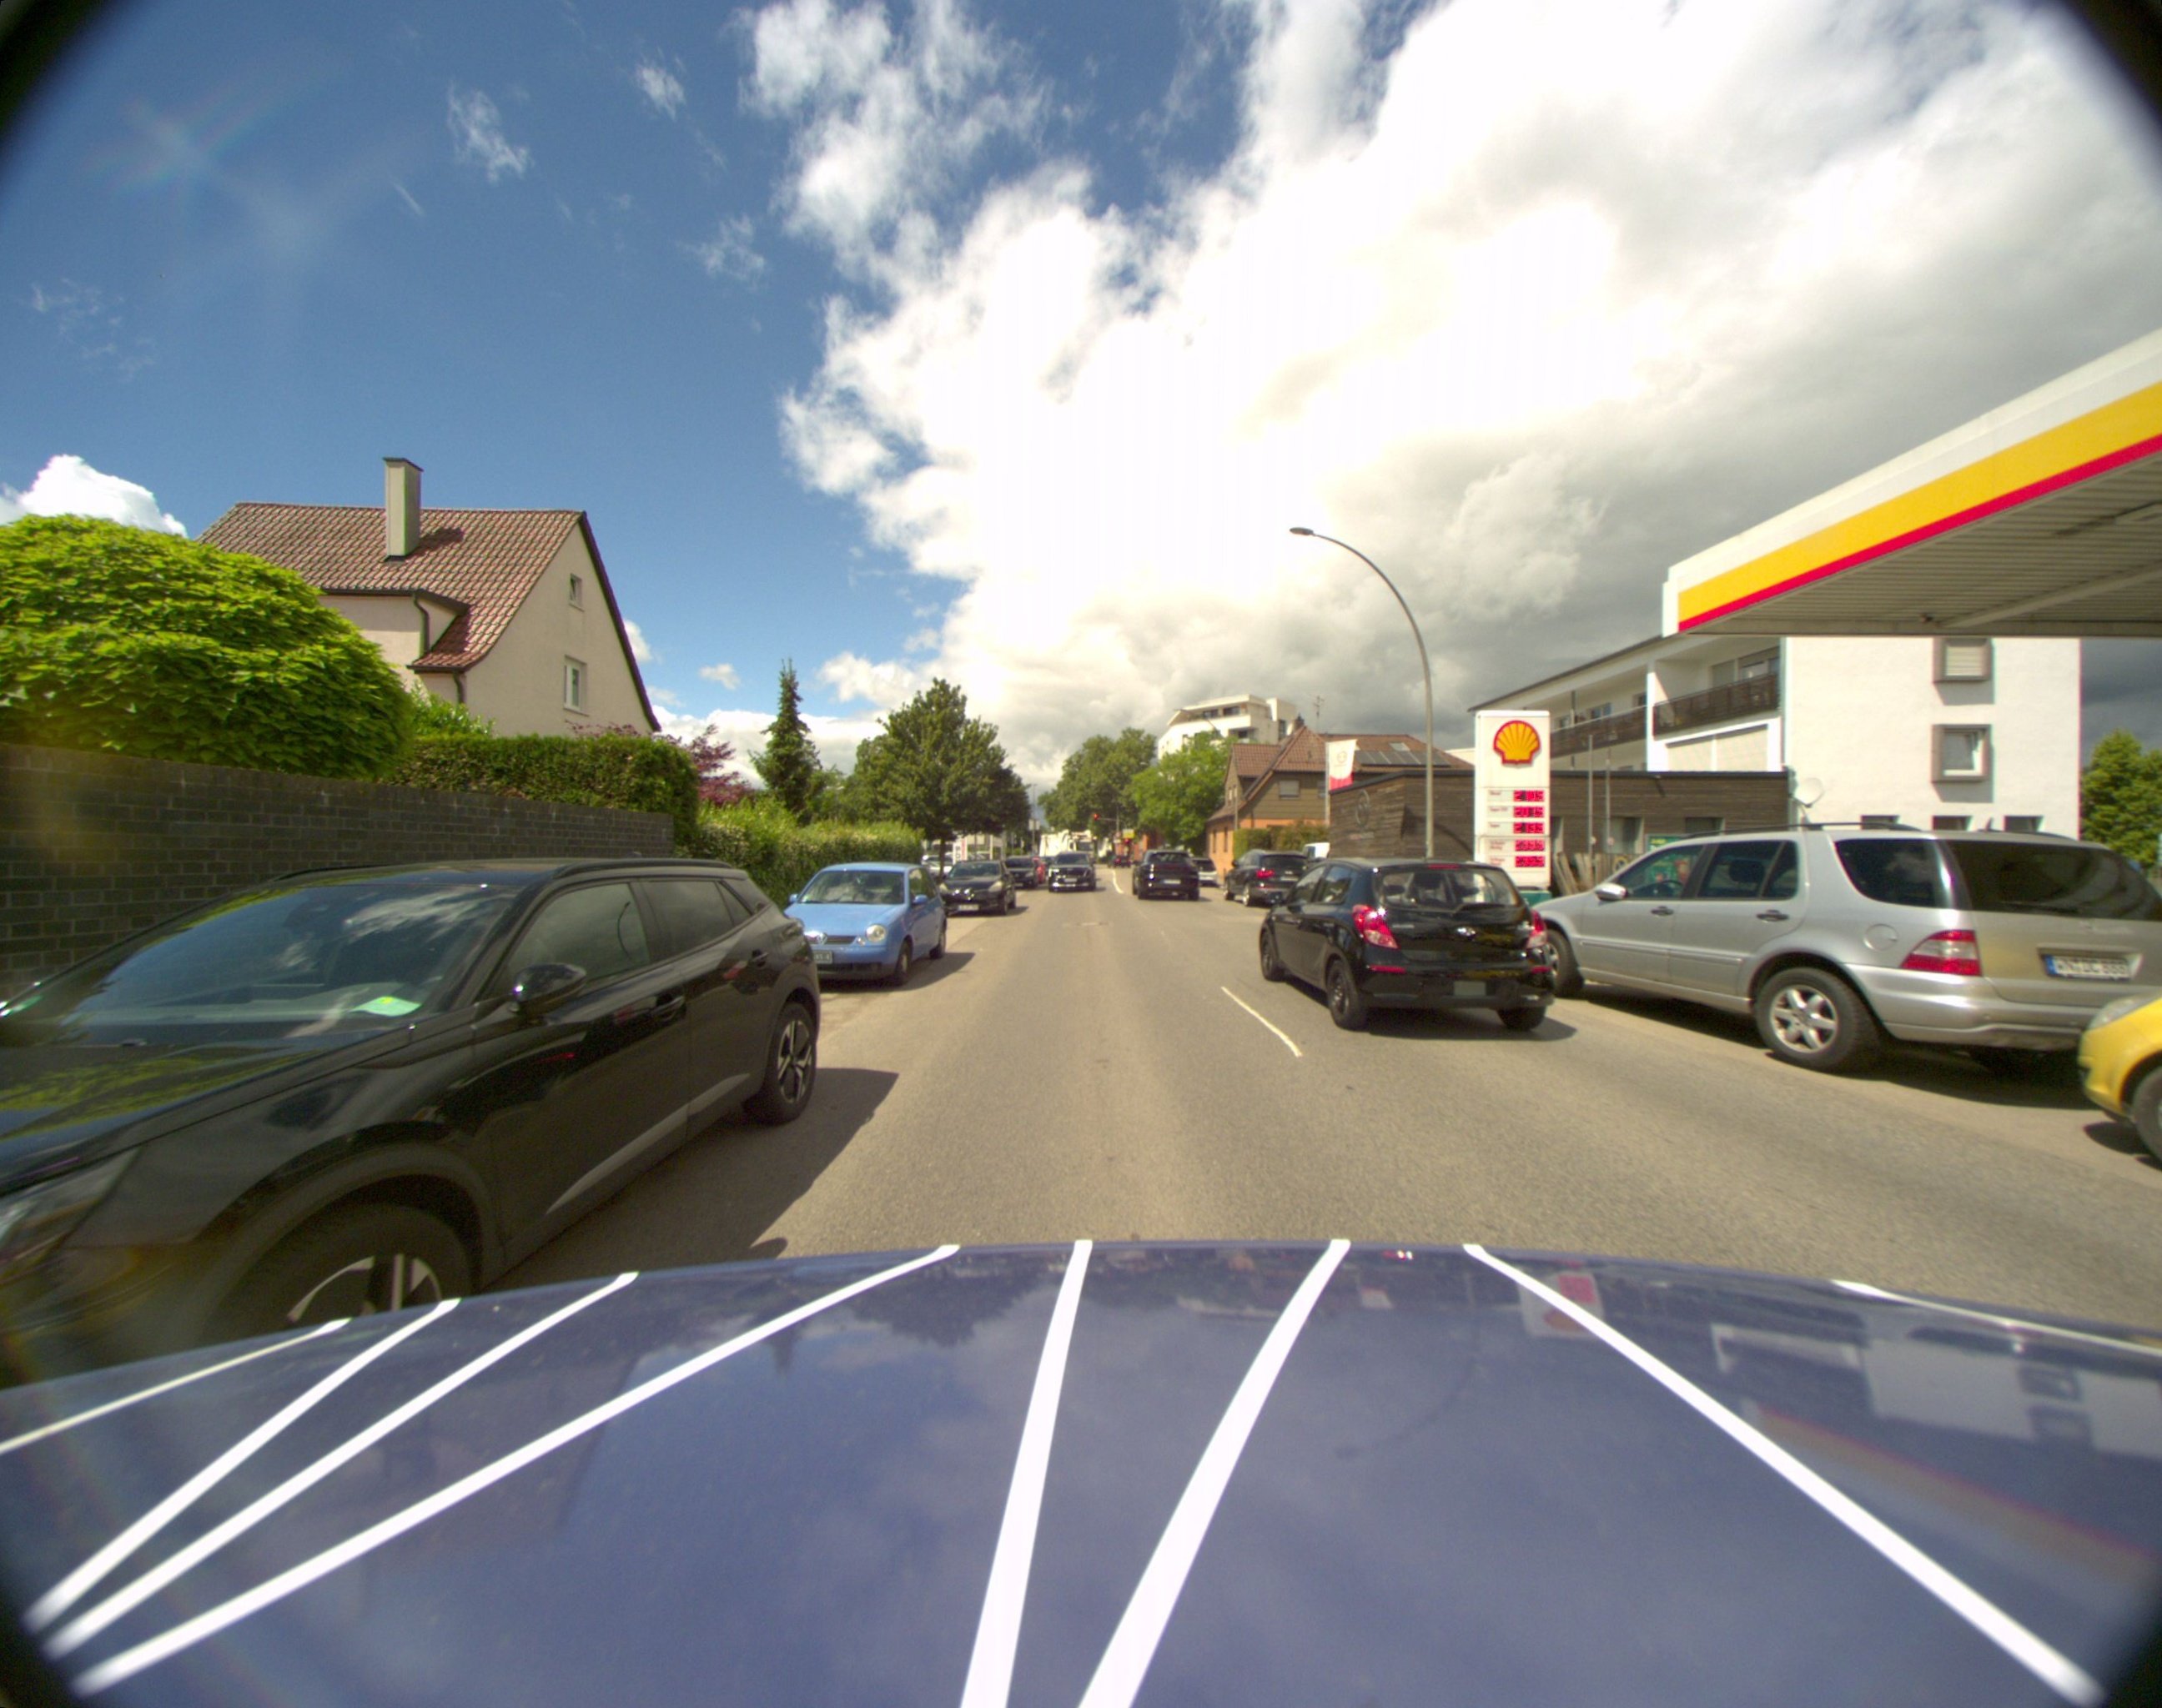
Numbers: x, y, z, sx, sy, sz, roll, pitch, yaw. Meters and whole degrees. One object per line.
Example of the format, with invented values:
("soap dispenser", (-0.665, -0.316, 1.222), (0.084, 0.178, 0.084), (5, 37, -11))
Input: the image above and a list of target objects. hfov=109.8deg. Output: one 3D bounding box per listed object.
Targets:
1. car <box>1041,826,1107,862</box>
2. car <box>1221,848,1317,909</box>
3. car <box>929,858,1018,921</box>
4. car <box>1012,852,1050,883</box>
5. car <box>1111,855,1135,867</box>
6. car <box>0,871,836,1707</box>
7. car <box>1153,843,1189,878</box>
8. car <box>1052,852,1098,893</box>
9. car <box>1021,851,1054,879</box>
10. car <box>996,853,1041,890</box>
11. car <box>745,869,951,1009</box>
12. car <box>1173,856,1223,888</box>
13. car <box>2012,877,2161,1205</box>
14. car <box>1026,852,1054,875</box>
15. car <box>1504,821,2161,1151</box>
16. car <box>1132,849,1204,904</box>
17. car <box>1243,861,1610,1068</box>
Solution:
("car", (-0.959, -1.068, 81.774), (3.269, 3.596, 10.248), (-2, 1, -24))
("car", (5.704, 0.763, 23.617), (1.789, 1.694, 4.535), (-1, -2, 0))
("car", (-2.756, 0.867, 20.293), (1.789, 1.436, 3.771), (-1, 1, 1))
("car", (-2.695, 0.718, 41.544), (1.789, 1.555, 3.879), (-1, 1, 0))
("car", (4.506, 0.733, 81.928), (1.818, 1.313, 3.996), (0, 0, -9))
("car", (-2.544, 0.929, 2.830), (1.789, 1.548, 4.316), (-1, 1, 1))
("car", (5.930, 0.488, 50.494), (1.789, 2.166, 4.535), (-1, -2, 0))
("car", (-0.244, 0.736, 32.098), (1.789, 1.555, 3.879), (-1, 1, 0))
("car", (-2.669, 0.655, 46.991), (1.789, 1.555, 3.879), (-1, 1, 0))
("car", (-2.874, 0.764, 35.699), (1.789, 1.555, 3.879), (-1, 1, 0))
("car", (-2.815, 0.954, 9.981), (1.576, 1.423, 3.548), (0, 0, 1))
("car", (5.970, 0.950, 39.249), (1.789, 1.493, 4.535), (-1, -2, 0))
("car", (5.877, 0.940, 2.107), (1.667, 1.506, 3.945), (3, 1, 1))
("car", (-2.955, 0.694, 55.809), (1.789, 1.555, 3.879), (-1, 1, 0))
("car", (5.894, 0.767, 6.560), (1.789, 1.857, 4.314), (3, 1, -3))
("car", (2.888, 0.683, 26.169), (2.064, 1.700, 4.534), (-1, 0, 2))
("car", (3.023, 0.855, 7.700), (1.852, 1.465, 3.980), (1, 1, 0))
